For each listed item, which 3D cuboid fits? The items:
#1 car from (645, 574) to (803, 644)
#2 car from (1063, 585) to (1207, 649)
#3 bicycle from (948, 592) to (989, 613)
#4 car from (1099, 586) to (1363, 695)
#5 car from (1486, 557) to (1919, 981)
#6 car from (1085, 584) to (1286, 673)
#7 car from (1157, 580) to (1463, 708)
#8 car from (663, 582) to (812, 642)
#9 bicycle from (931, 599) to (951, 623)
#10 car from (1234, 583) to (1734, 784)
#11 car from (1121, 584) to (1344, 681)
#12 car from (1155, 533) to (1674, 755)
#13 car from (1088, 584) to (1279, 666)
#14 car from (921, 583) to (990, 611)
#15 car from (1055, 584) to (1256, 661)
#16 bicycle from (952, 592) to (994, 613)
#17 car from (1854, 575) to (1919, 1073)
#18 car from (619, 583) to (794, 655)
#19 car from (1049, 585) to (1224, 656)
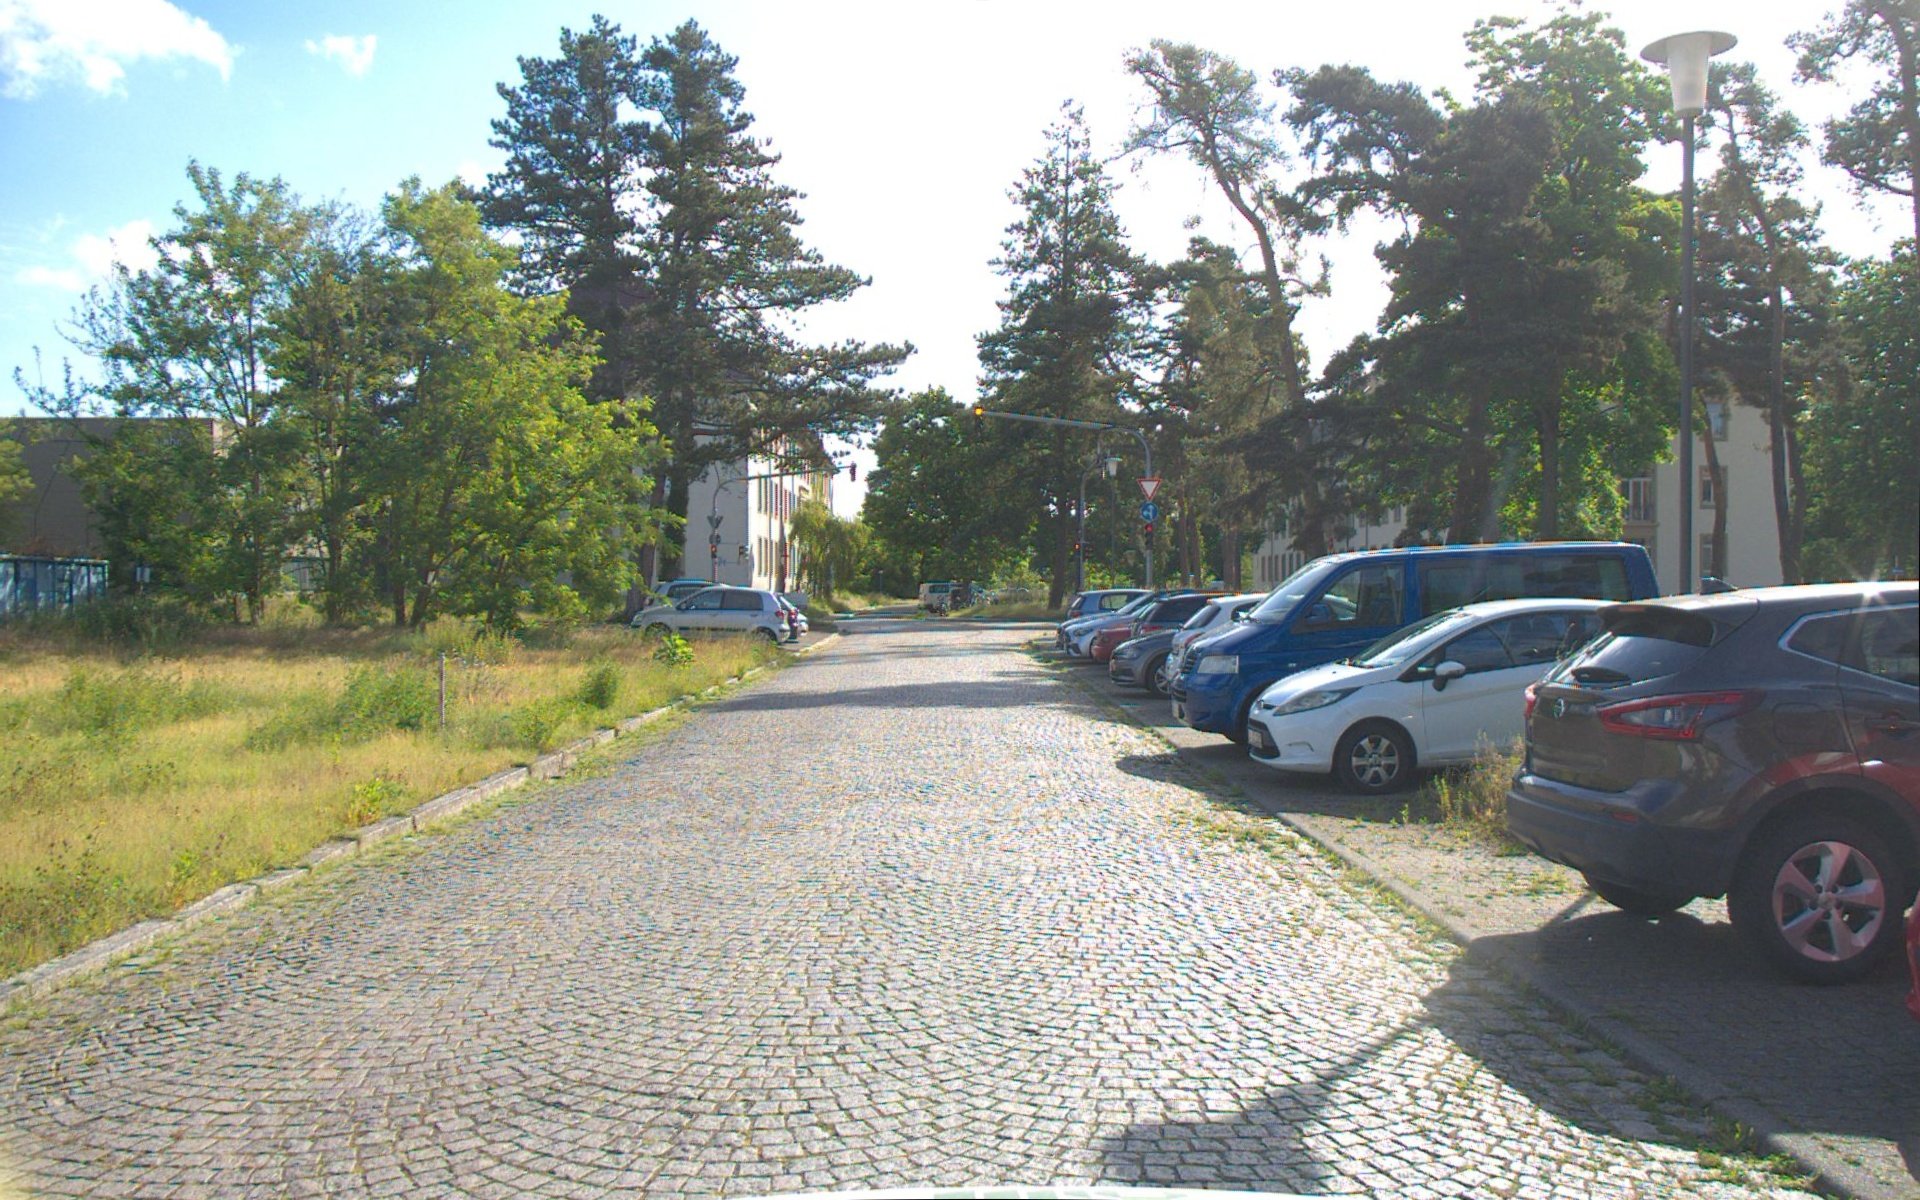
[{"bbox_3d":[-6.302,0.232,44.571,3.907,1.629,2.000,3,0,-2],"label":"car"},{"bbox_3d":[4.223,0.404,40.137,3.276,1.508,1.645,0,0,-2],"label":"car"},{"bbox_3d":[0.450,0.138,89.067,2.134,1.119,0.805,0,0,-11],"label":"bicycle"},{"bbox_3d":[3.967,0.574,24.571,3.601,1.492,1.645,-1,0,-2],"label":"car"},{"bbox_3d":[4.571,0.643,7.418,3.857,1.650,1.771,0,0,-2],"label":"car"},{"bbox_3d":[4.068,0.491,30.183,3.408,1.556,1.645,0,0,-2],"label":"car"},{"bbox_3d":[4.516,0.549,21.692,3.619,1.491,1.645,-2,0,0],"label":"car"},{"bbox_3d":[-6.268,0.314,46.973,3.906,1.478,2.000,3,0,-2],"label":"car"},{"bbox_3d":[-0.972,0.542,85.583,0.789,1.190,2.177,-2,1,-7],"label":"bicycle"},{"bbox_3d":[4.274,0.643,13.832,3.645,1.514,1.644,-1,0,-3],"label":"car"},{"bbox_3d":[4.481,0.516,27.498,3.408,1.556,1.645,0,0,-2],"label":"car"},{"bbox_3d":[4.399,0.391,16.512,4.584,2.049,2.082,0,0,-4],"label":"car"},{"bbox_3d":[4.367,0.469,32.649,3.530,1.556,1.645,0,0,-2],"label":"car"},{"bbox_3d":[-0.299,-0.191,106.526,4.390,1.758,2.000,0,0,-2],"label":"car"},{"bbox_3d":[4.056,0.452,34.723,3.955,1.556,1.644,0,0,-5],"label":"car"},{"bbox_3d":[0.709,0.122,90.154,2.134,1.119,0.805,0,0,-11],"label":"bicycle"},{"bbox_3d":[4.848,0.698,4.757,3.686,1.557,1.645,0,0,-1],"label":"car"},{"bbox_3d":[-5.947,0.423,39.188,3.908,1.628,1.999,0,0,-4],"label":"car"},{"bbox_3d":[3.965,0.451,37.493,3.758,1.556,1.645,0,0,-2],"label":"car"}]
